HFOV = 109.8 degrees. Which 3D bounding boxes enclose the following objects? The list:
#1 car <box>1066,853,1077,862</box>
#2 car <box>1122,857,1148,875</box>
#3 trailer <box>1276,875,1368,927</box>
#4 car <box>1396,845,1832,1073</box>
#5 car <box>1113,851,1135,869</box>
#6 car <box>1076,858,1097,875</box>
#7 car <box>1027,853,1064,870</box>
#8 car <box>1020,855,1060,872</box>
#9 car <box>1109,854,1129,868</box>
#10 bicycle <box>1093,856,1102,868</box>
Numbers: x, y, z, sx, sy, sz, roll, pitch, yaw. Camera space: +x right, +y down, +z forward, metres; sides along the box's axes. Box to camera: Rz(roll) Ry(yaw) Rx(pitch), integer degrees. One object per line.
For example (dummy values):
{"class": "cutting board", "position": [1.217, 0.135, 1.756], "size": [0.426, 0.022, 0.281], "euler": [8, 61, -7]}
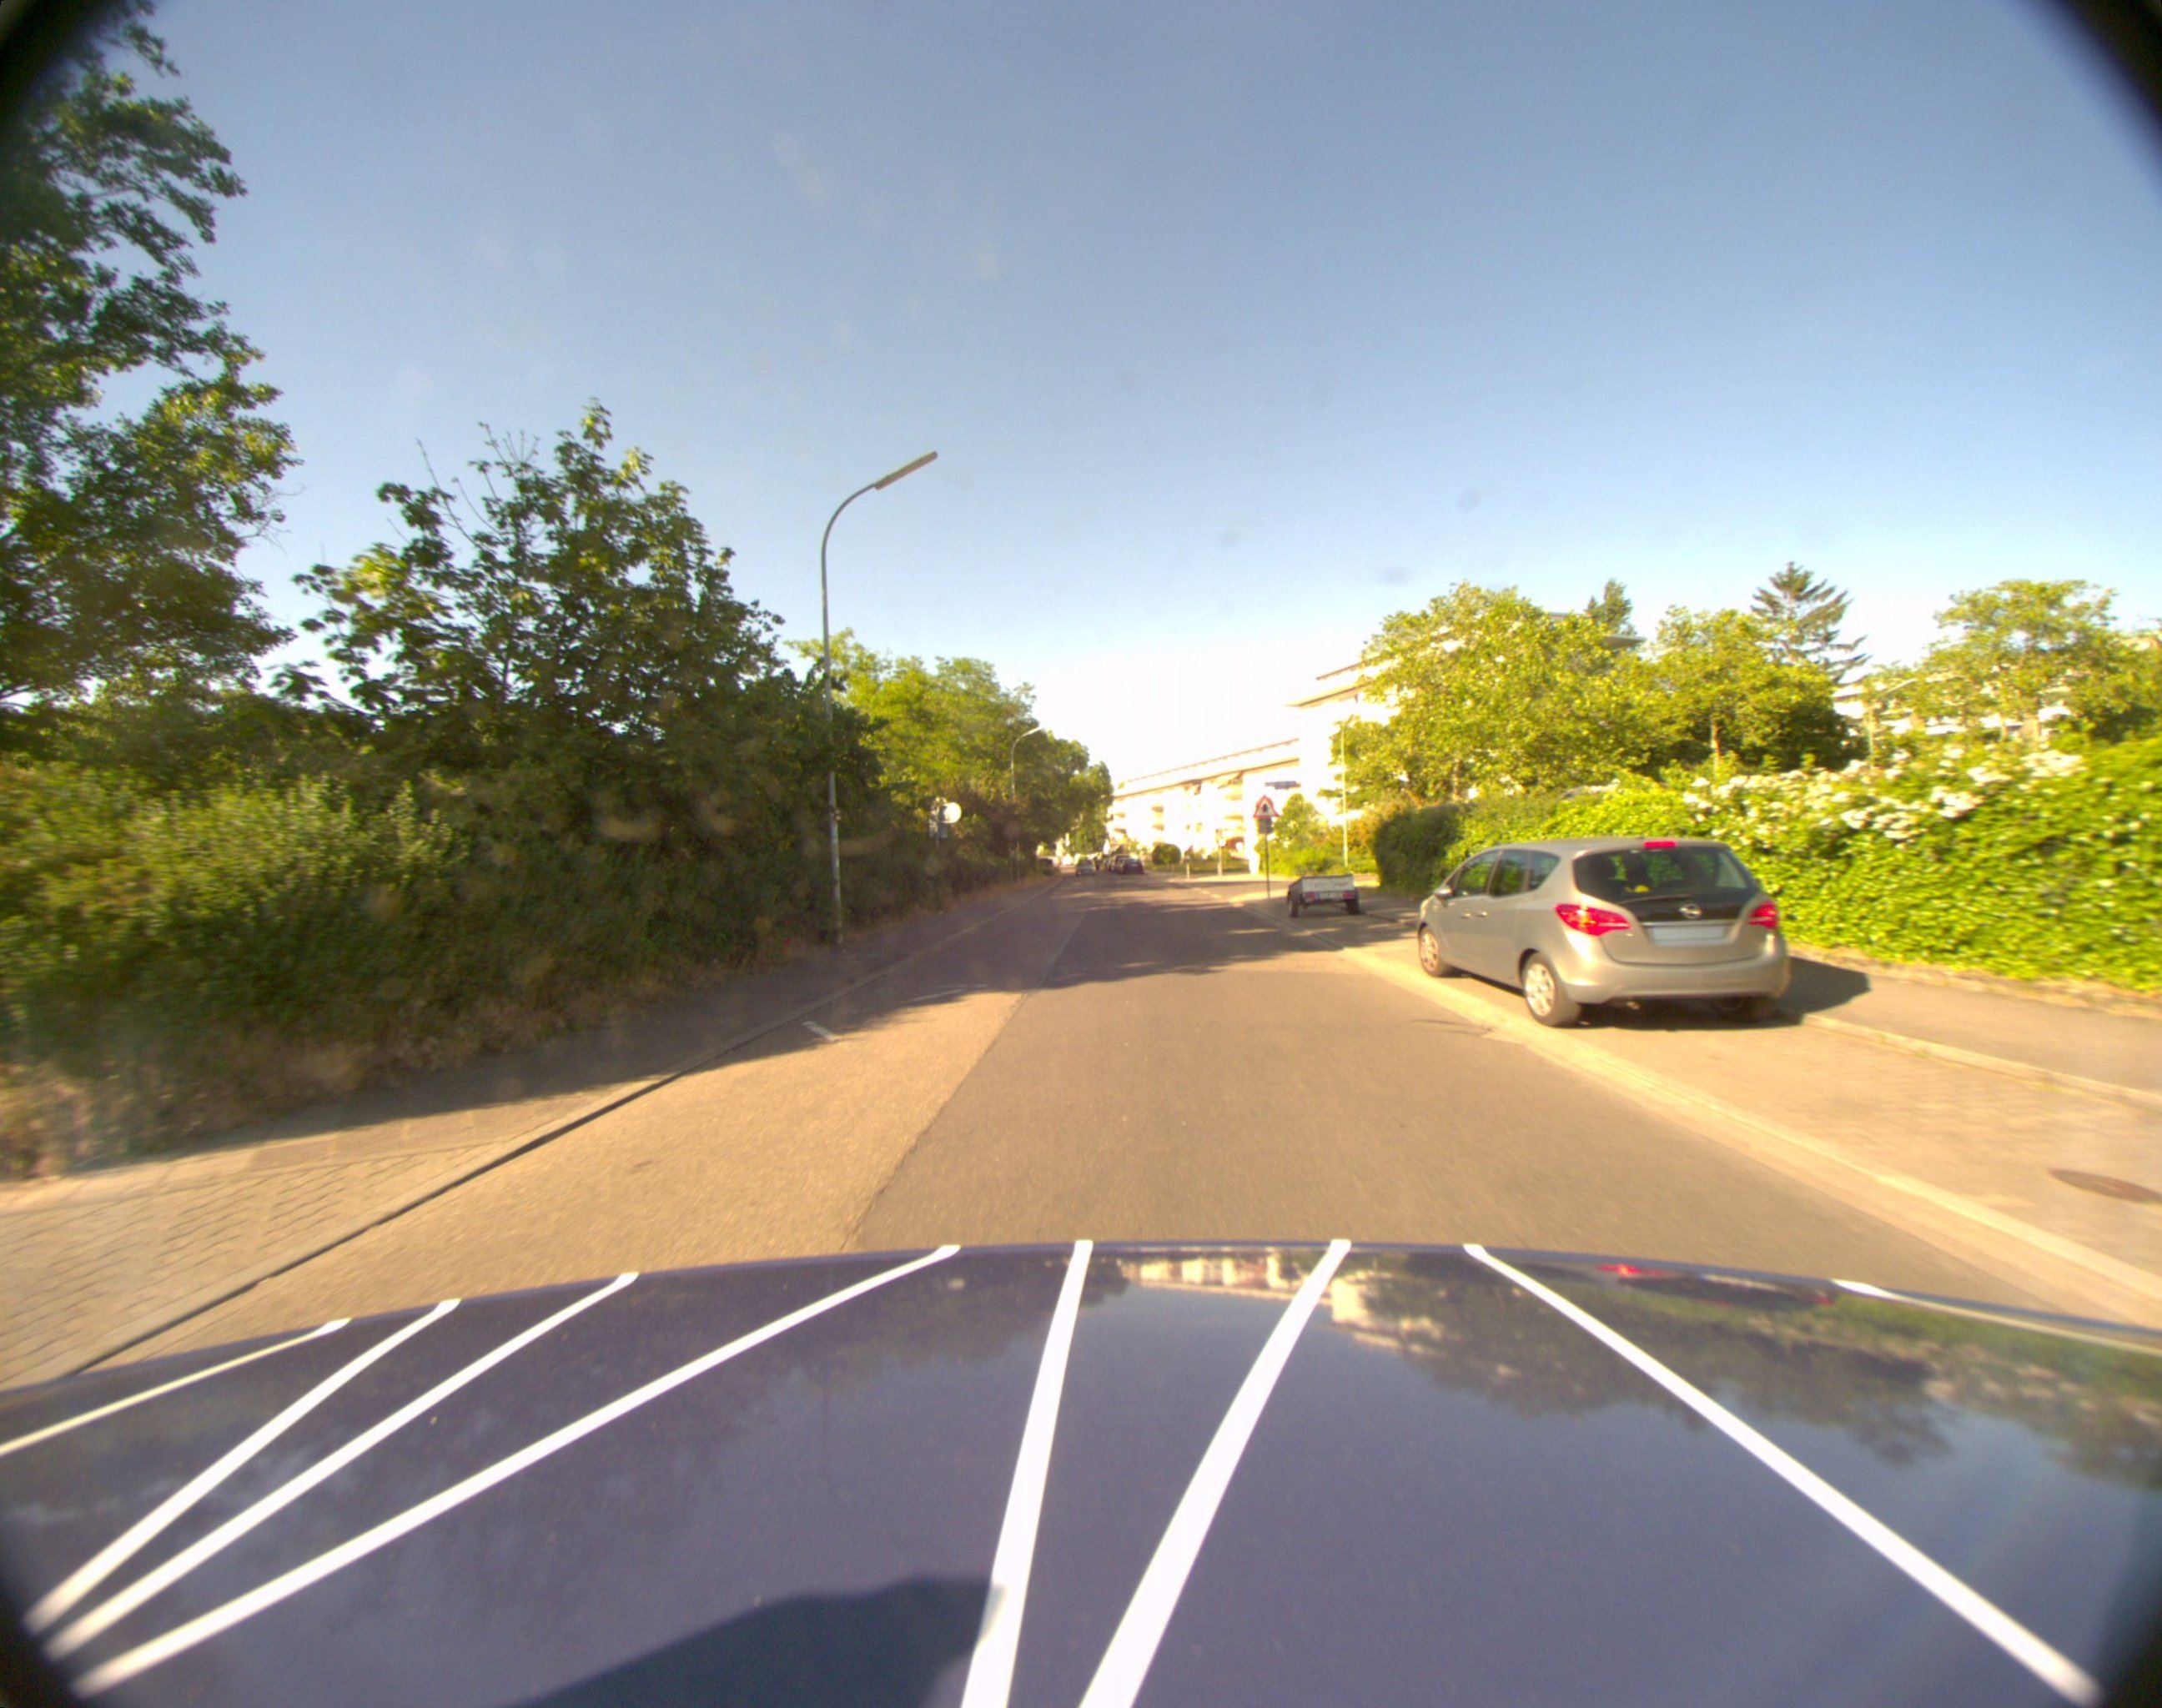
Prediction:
{"class": "car", "position": [-2.129, 0.864, 177.197], "size": [2.008, 1.837, 4.613], "euler": [-4, 0, -6]}
{"class": "car", "position": [4.678, 1.066, 66.323], "size": [1.732, 1.455, 4.682], "euler": [-1, -1, -2]}
{"class": "trailer", "position": [5.665, 1.078, 18.122], "size": [1.547, 0.948, 2.648], "euler": [-4, 0, 6]}
{"class": "car", "position": [4.749, 0.763, 7.677], "size": [1.647, 1.590, 4.313], "euler": [-3, 0, 6]}
{"class": "car", "position": [4.476, 0.633, 79.550], "size": [1.845, 1.770, 4.887], "euler": [-1, 0, -2]}
{"class": "car", "position": [0.474, 1.092, 67.315], "size": [1.597, 1.417, 4.169], "euler": [0, 0, -2]}
{"class": "car", "position": [-4.384, 0.866, 93.695], "size": [4.463, 2.005, 2.021], "euler": [-1, 0, -1]}
{"class": "car", "position": [-4.380, 1.038, 81.023], "size": [4.159, 1.685, 1.775], "euler": [-1, 0, 0]}
{"class": "car", "position": [4.250, 0.761, 85.573], "size": [1.845, 1.473, 4.573], "euler": [1, 0, -2]}
{"class": "bicycle", "position": [1.918, 0.917, 87.361], "size": [0.853, 1.362, 3.220], "euler": [-2, 0, 0]}
